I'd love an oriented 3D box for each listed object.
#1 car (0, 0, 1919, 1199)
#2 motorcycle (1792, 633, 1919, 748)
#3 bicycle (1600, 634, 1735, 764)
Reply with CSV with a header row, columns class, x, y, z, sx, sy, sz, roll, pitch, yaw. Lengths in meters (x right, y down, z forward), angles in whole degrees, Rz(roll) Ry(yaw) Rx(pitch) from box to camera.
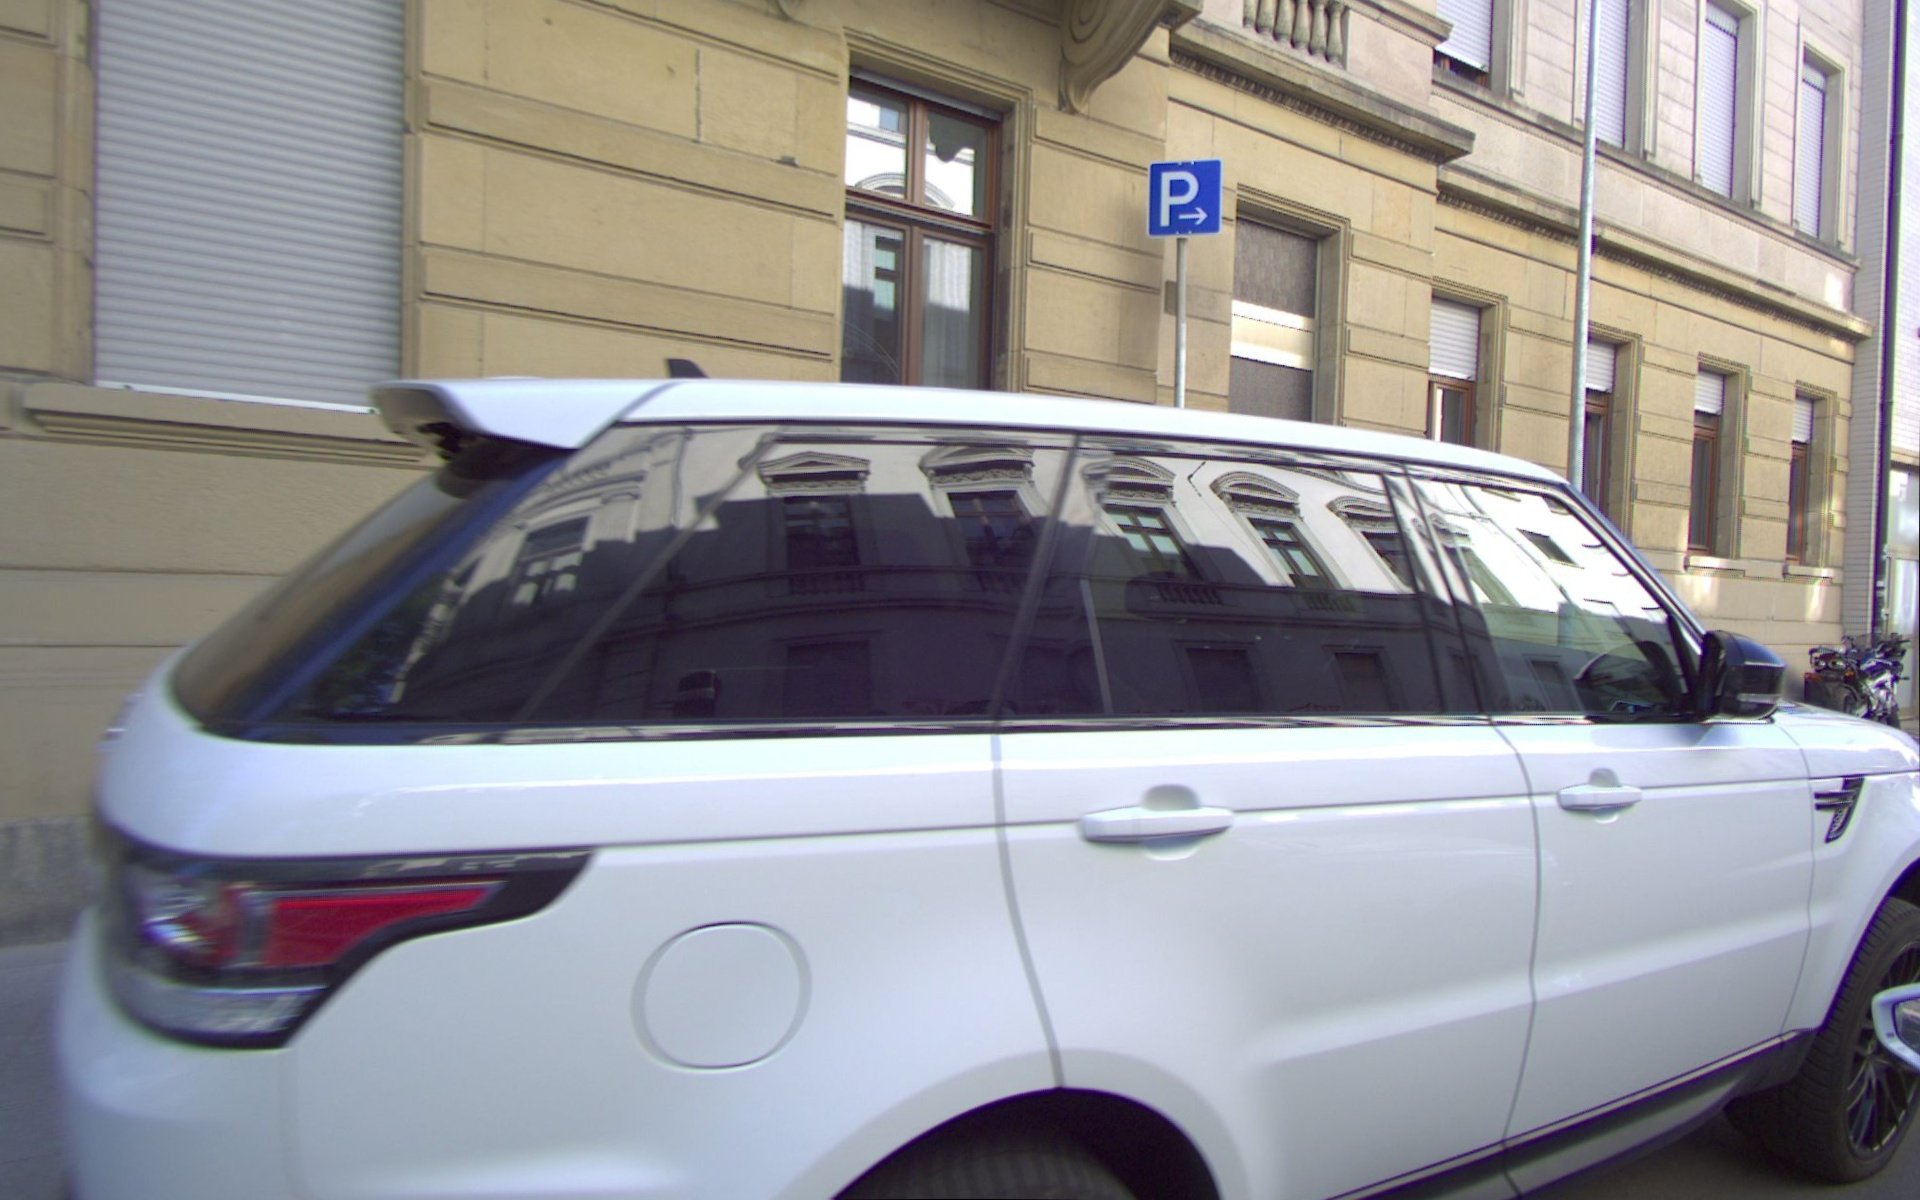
class,x,y,z,sx,sy,sz,roll,pitch,yaw
car,0.737,0.472,2.602,4.488,2.040,2.013,2,0,-29
motorcycle,10.185,0.995,11.392,2.096,1.201,0.430,2,1,-30
bicycle,6.697,0.904,9.493,1.490,1.140,0.430,1,1,-30
